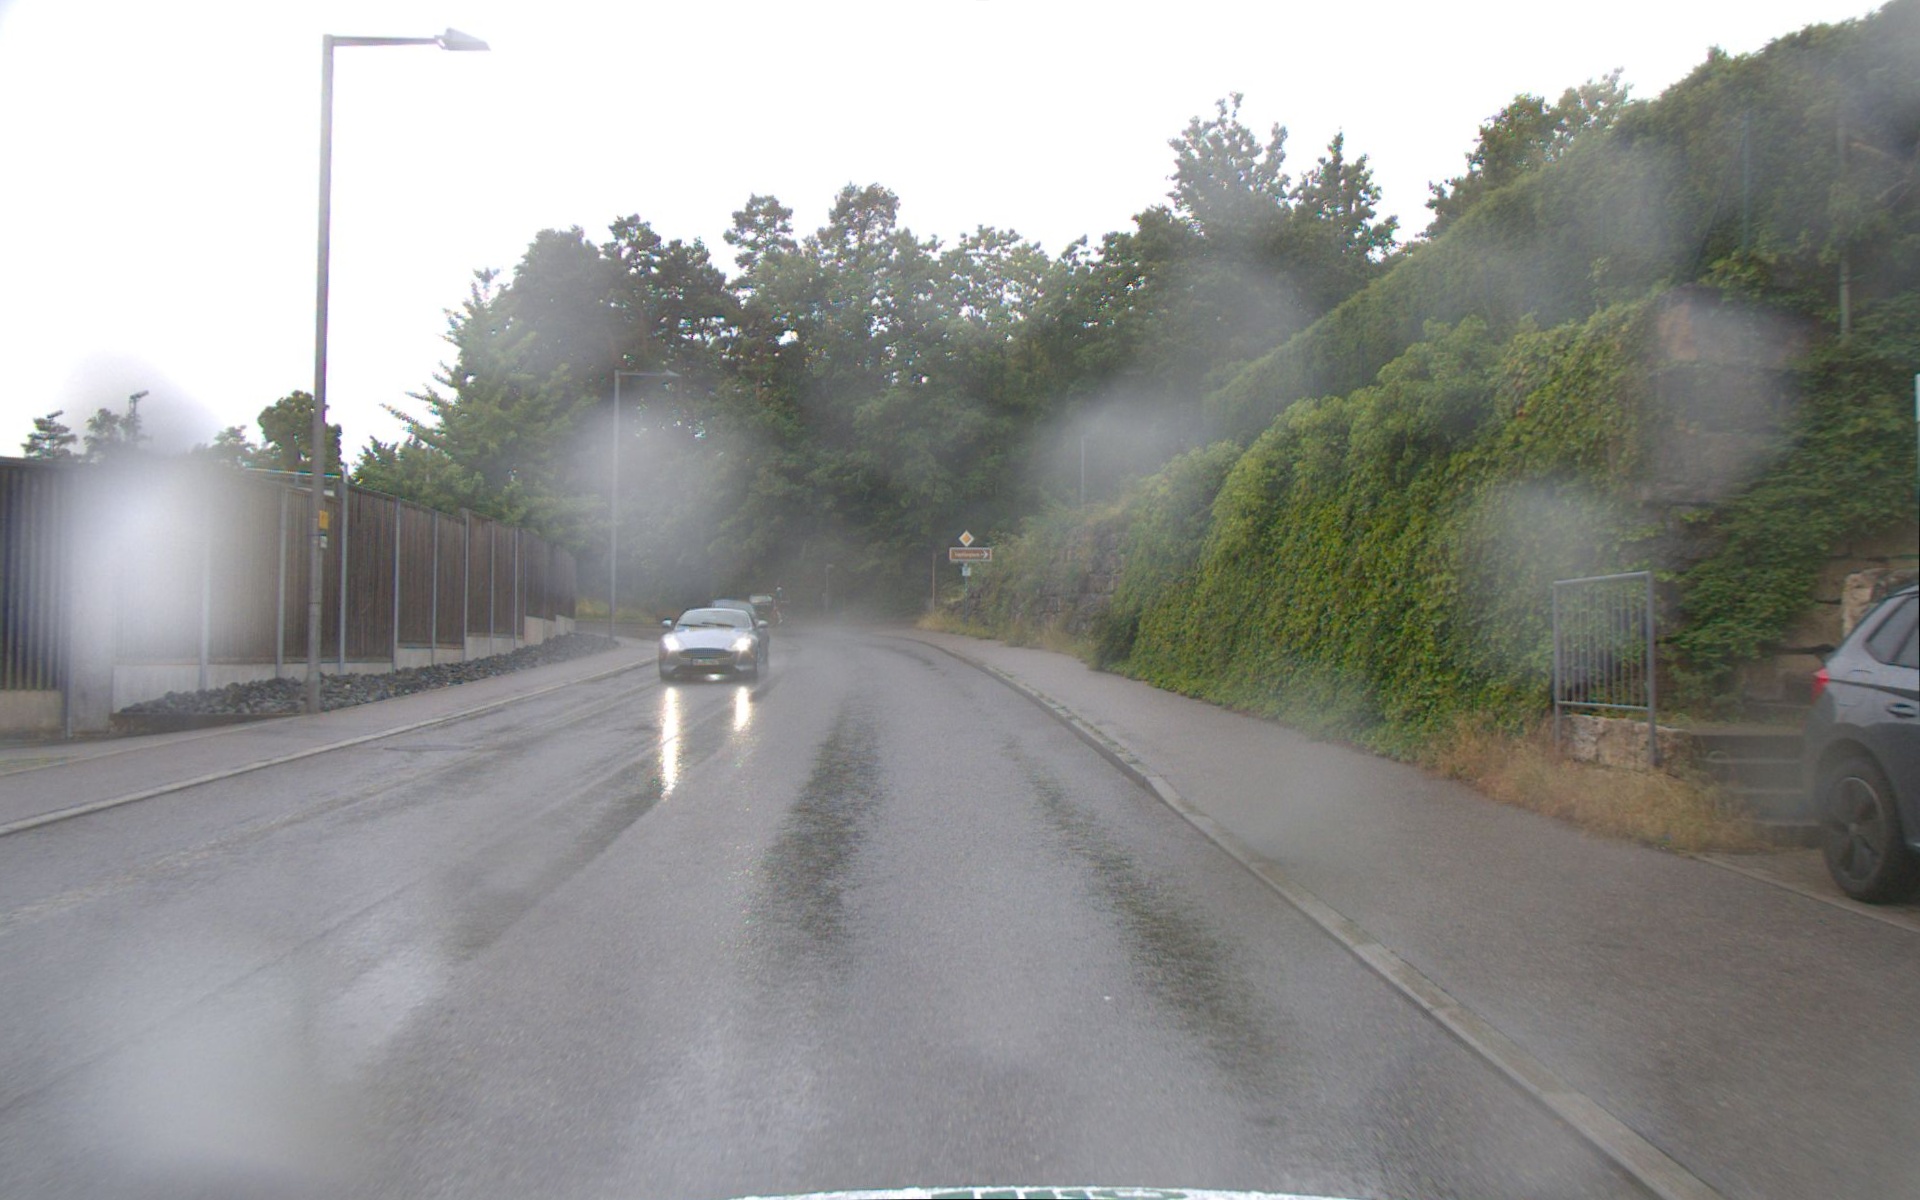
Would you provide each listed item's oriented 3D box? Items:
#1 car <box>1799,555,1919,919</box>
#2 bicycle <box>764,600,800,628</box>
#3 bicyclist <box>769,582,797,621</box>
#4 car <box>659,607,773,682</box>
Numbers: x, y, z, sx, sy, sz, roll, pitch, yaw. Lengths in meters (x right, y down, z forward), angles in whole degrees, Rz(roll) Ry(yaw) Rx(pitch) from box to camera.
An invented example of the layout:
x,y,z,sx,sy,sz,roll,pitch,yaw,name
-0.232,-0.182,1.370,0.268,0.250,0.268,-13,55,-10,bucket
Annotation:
x,y,z,sx,sy,sz,roll,pitch,yaw,name
5.067,0.566,6.153,1.773,1.591,4.009,-2,0,-1,car
-7.814,0.614,72.676,1.589,1.103,0.527,6,4,35,bicycle
-7.792,0.052,72.763,0.886,1.642,0.721,6,3,31,bicyclist
-4.597,0.805,31.626,1.844,1.305,4.205,0,0,-4,car
